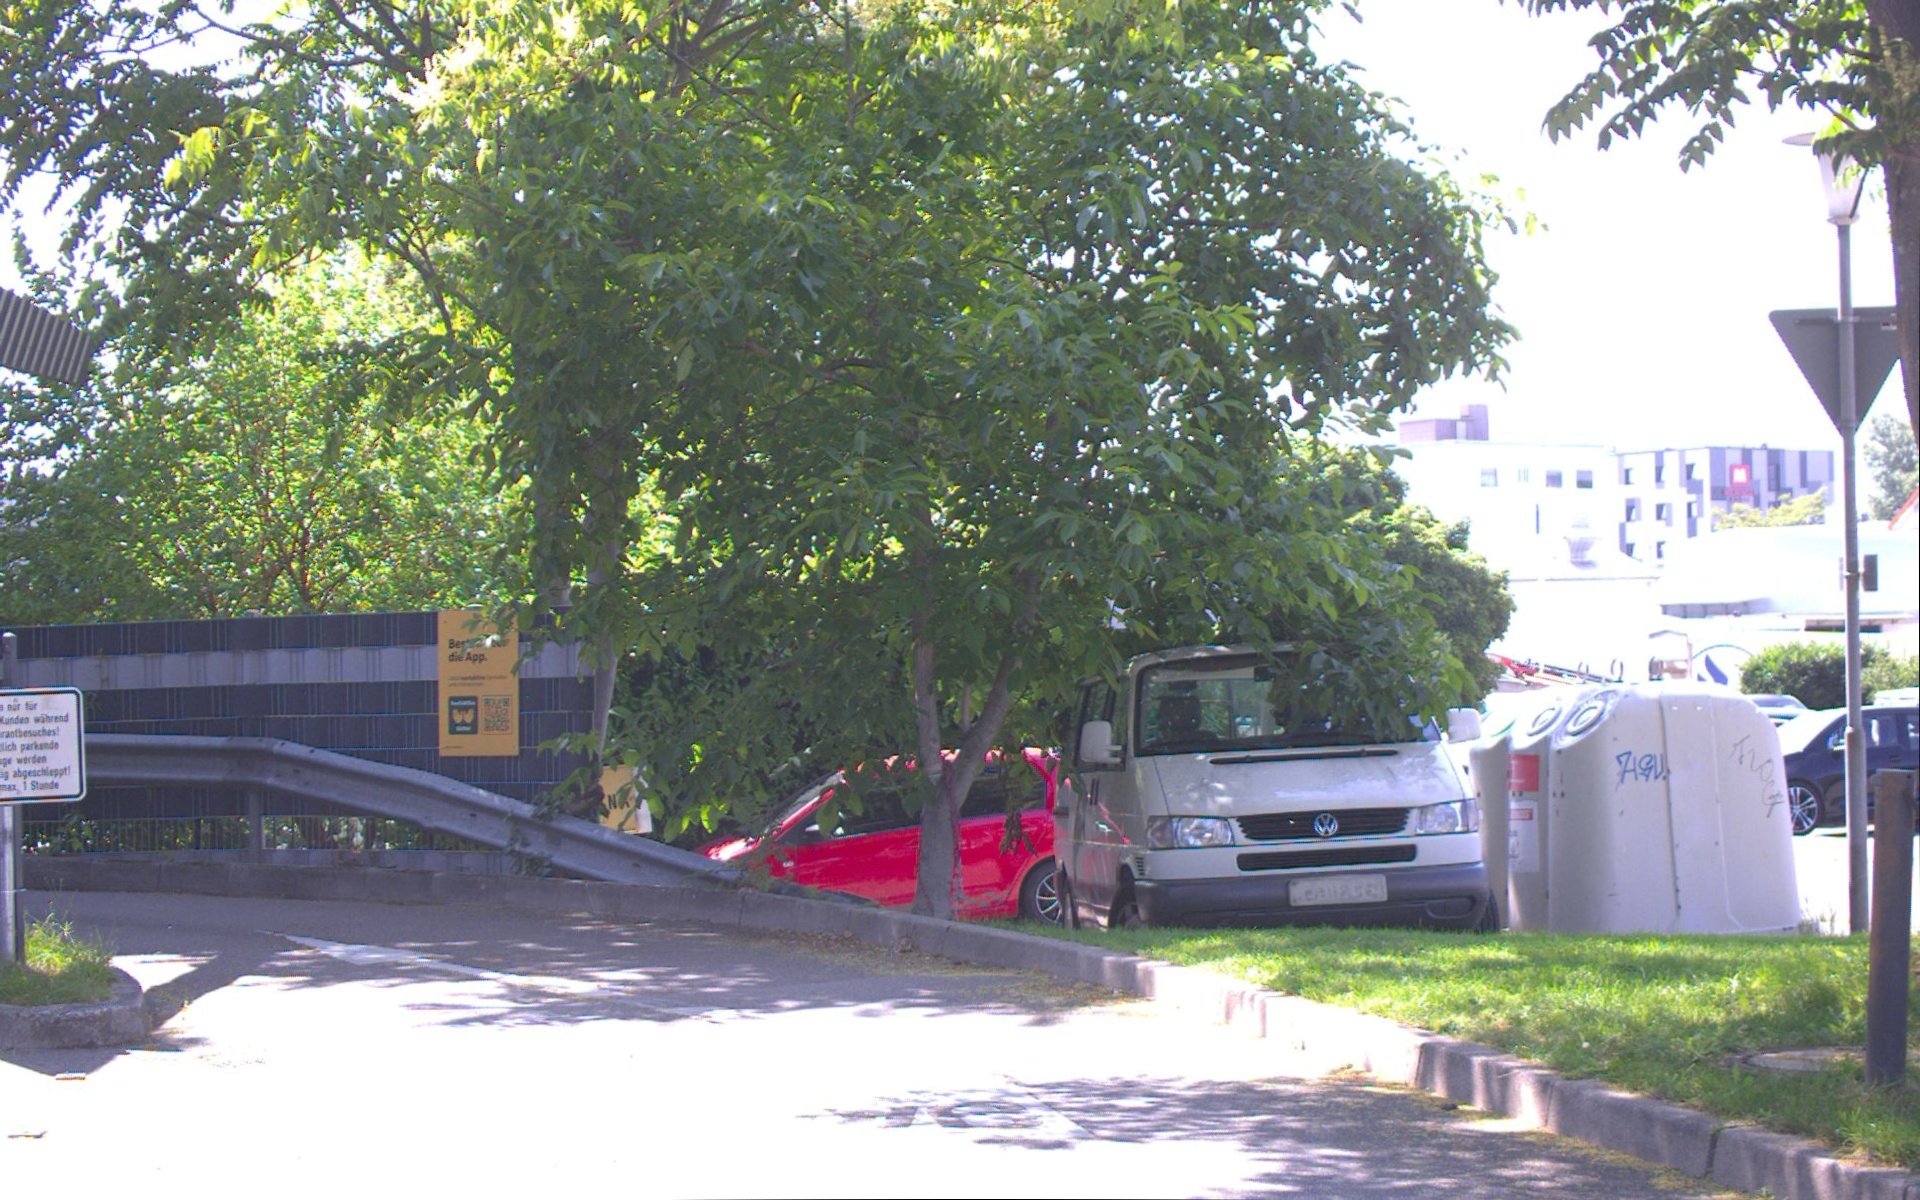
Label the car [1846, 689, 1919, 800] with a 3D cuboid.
[{"bbox_3d":[14.670,2.091,49.838,1.993,1.580,4.001,1,-1,-11],"label":"car"}]

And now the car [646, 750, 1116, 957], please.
[{"bbox_3d":[-0.638,1.930,26.617,3.403,1.374,1.487,-1,1,-11],"label":"car"}]

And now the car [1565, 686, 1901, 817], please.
[{"bbox_3d":[10.475,2.049,46.630,3.986,1.720,2.000,1,-2,-20],"label":"car"}]

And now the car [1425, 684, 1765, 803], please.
[{"bbox_3d":[9.513,2.147,51.536,4.637,1.720,2.000,1,-2,-20],"label":"car"}]

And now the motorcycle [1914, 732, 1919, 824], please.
[{"bbox_3d":[13.048,2.251,43.269,1.868,1.155,0.790,0,-1,-1],"label":"motorcycle"}]

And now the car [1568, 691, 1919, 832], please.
[{"bbox_3d":[9.924,2.019,43.339,3.986,1.700,2.000,1,-1,-13],"label":"car"}]

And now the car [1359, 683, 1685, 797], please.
[{"bbox_3d":[8.795,2.192,53.855,4.637,1.720,2.000,1,-2,-20],"label":"car"}]

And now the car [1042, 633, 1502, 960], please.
[{"bbox_3d":[1.595,0.991,19.399,1.951,1.578,5.031,1,0,-2],"label":"car"}]

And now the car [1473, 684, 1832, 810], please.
[{"bbox_3d":[9.835,2.091,48.868,4.637,1.720,2.000,1,-2,-20],"label":"car"}]
